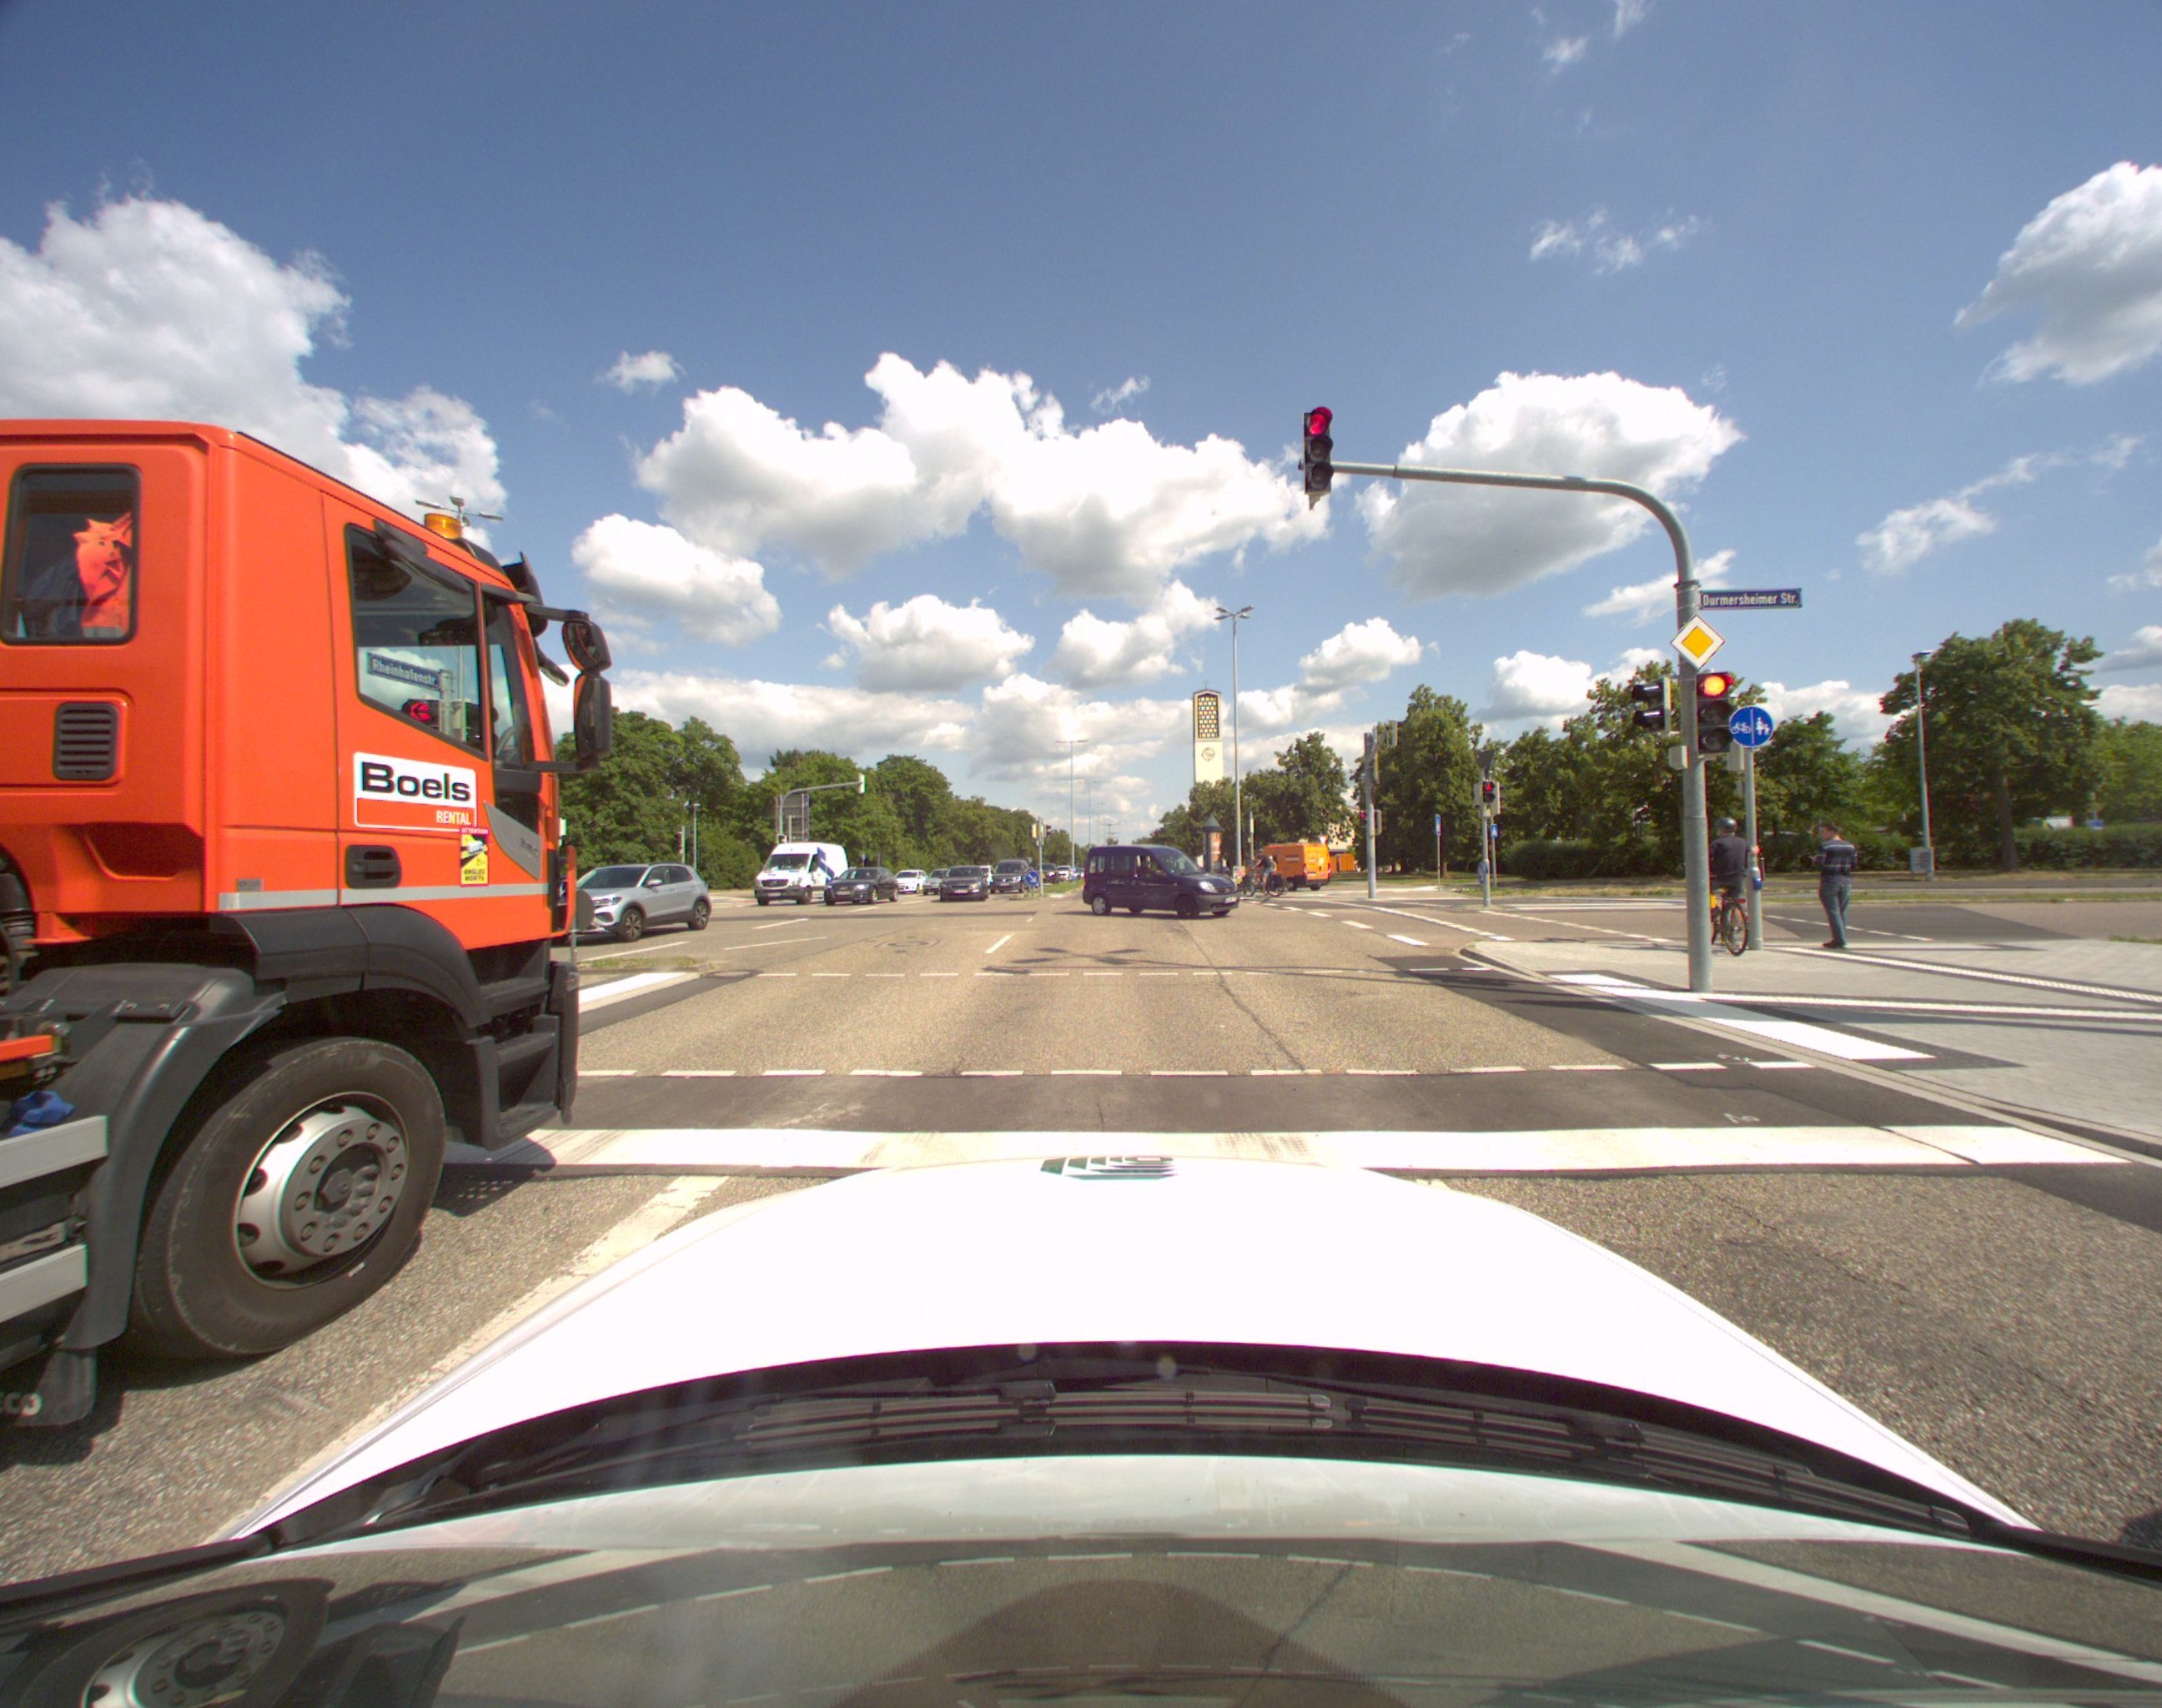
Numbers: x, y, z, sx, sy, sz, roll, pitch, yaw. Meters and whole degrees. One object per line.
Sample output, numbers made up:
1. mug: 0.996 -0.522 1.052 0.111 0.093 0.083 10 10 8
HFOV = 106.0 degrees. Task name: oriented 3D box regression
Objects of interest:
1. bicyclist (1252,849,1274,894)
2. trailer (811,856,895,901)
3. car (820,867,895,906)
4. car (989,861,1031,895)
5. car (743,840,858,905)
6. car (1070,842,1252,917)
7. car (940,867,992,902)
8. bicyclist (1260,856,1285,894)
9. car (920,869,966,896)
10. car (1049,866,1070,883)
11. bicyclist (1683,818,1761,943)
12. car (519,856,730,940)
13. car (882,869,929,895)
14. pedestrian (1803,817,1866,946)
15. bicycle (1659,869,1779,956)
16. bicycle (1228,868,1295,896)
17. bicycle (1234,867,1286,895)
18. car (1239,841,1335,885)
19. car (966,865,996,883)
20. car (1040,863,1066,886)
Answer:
1. bicyclist: 7.367 0.713 33.005 0.782 1.804 0.687 -1 -1 6
2. trailer: -10.937 1.167 39.549 2.114 2.014 5.169 1 -1 6
3. car: -8.376 1.192 30.793 1.757 1.352 3.520 -1 -1 2
4. car: -3.788 1.246 44.180 1.728 1.660 4.233 1 0 2
5. car: -11.496 0.759 33.997 2.163 2.471 5.976 1 -1 6
6. car: 1.909 0.583 20.090 4.177 1.660 1.751 0 -2 40
7. car: -4.586 1.184 32.819 1.563 1.316 3.431 1 -1 0
8. bicyclist: 8.191 0.884 34.786 0.701 1.616 0.791 0 -1 -22
9. car: -7.610 1.548 45.350 1.719 1.398 4.001 1 -1 2
10. car: -2.119 2.067 81.560 1.727 1.660 4.233 1 -1 3
11. bicyclist: 8.866 0.356 11.290 0.643 1.661 0.653 1 -1 16
12. car: -9.537 0.862 17.493 1.726 1.543 4.316 1 -1 6
13. car: -10.707 1.685 50.042 1.851 1.513 4.001 1 -1 2
14. pedestrian: 10.621 0.377 11.496 0.461 1.779 0.483 1 -1 11
15. bicycle: 8.912 0.772 11.469 0.643 1.108 1.936 1 -1 16
16. bicycle: 7.676 1.179 34.576 2.844 1.112 0.791 0 -1 -22
17. bicycle: 7.226 1.105 33.017 1.987 1.093 0.687 -1 -1 6
18. car: 11.039 0.504 43.954 2.220 2.226 4.810 2 -1 -33
19. car: -7.130 1.445 58.275 1.542 1.217 3.491 1 -1 2
20. car: -2.150 1.586 63.781 1.728 1.660 4.232 1 -1 2
